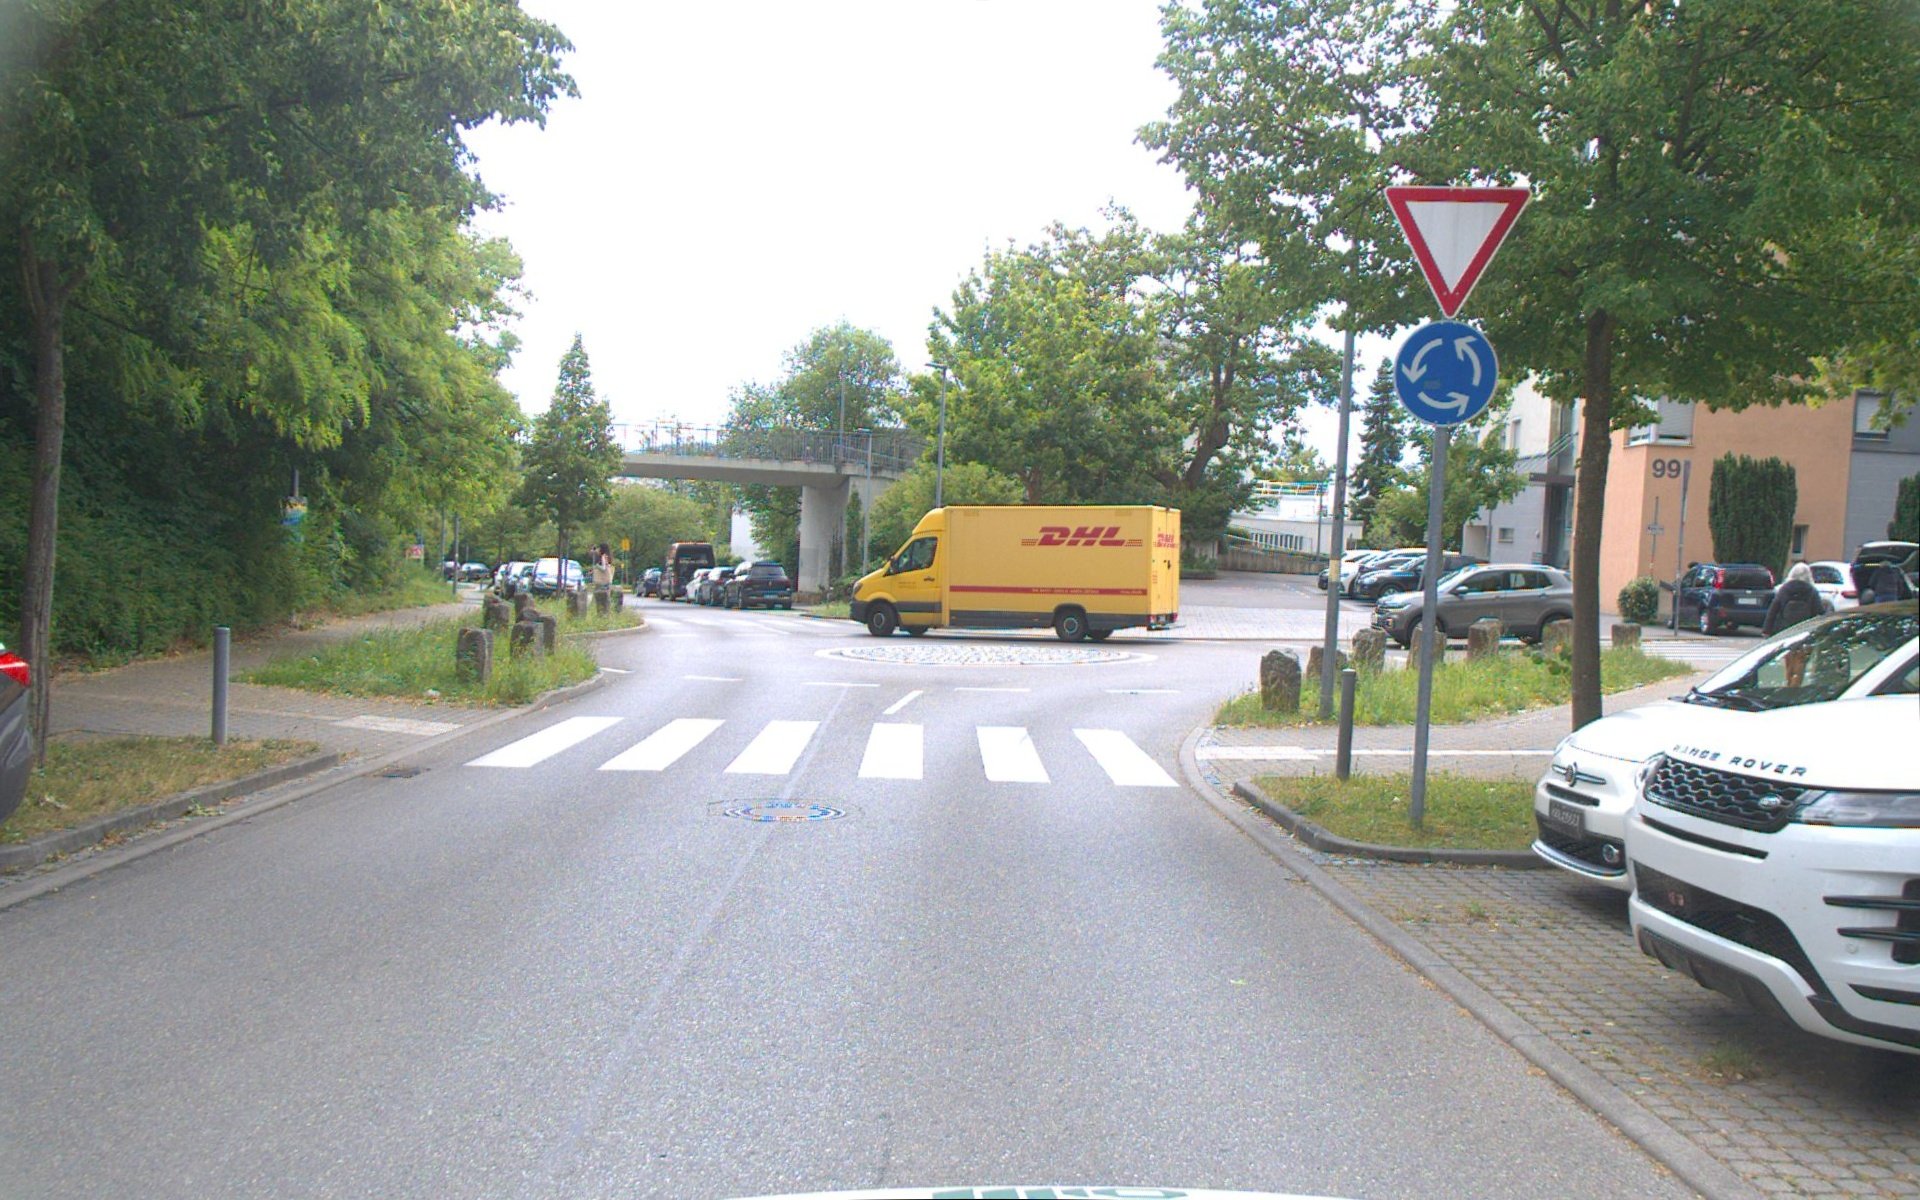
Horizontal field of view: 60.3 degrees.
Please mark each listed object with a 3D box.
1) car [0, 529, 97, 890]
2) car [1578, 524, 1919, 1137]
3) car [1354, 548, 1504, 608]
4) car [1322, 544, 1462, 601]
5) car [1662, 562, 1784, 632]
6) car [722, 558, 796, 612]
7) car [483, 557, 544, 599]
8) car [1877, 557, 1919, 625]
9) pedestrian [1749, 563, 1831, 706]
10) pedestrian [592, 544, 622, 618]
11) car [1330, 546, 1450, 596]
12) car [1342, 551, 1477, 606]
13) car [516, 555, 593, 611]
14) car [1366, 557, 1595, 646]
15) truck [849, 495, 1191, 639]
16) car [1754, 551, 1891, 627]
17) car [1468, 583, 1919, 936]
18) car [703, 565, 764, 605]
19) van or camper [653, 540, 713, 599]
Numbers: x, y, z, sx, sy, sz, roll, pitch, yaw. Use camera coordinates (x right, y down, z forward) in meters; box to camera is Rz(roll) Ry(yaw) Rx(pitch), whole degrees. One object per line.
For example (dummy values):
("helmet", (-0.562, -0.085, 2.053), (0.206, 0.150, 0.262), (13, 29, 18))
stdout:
("car", (-4.781, 0.440, 5.273), (1.656, 1.490, 4.456), (5, 1, -1))
("car", (4.389, 0.679, 5.359), (4.067, 1.630, 1.738), (3, 1, -2))
("car", (13.610, -0.647, 48.178), (3.955, 1.543, 1.757), (3, 1, 9))
("car", (13.797, -0.894, 53.011), (4.032, 1.621, 1.694), (3, 1, 5))
("car", (17.415, -0.102, 37.898), (1.468, 1.501, 3.529), (1, 1, 6))
("car", (-7.159, -0.490, 58.618), (1.786, 1.708, 4.346), (1, -2, -19))
("car", (-17.594, -0.872, 65.106), (1.857, 1.535, 4.425), (2, 0, -21))
("car", (22.292, -0.208, 37.168), (1.602, 1.507, 3.780), (0, 1, 6))
("pedestrian", (10.199, 0.407, 20.347), (0.600, 1.694, 0.841), (3, 1, 10))
("pedestrian", (-8.587, -0.467, 40.206), (0.646, 1.751, 0.737), (2, 1, -13))
("car", (14.979, -1.019, 57.749), (3.896, 1.543, 1.759), (3, 1, 11))
("car", (13.670, -0.654, 50.487), (3.746, 1.484, 1.694), (3, 1, 9))
("car", (-12.081, -0.527, 49.142), (1.760, 1.493, 3.978), (2, 2, -20))
("car", (10.044, 0.016, 32.115), (3.914, 1.646, 1.723), (1, 1, 1))
("truck", (1.235, -0.716, 34.649), (6.666, 2.749, 2.473), (2, 0, 24))
("car", (20.033, -0.278, 38.570), (1.535, 1.687, 3.780), (0, 1, 6))
("car", (4.513, 0.708, 8.117), (3.447, 1.487, 1.735), (1, 0, -9))
("car", (-8.899, -0.597, 64.774), (1.673, 1.522, 4.098), (1, 0, -18))
("van or camper", (-12.703, -1.364, 75.546), (1.962, 2.567, 5.444), (-1, 1, -17))
